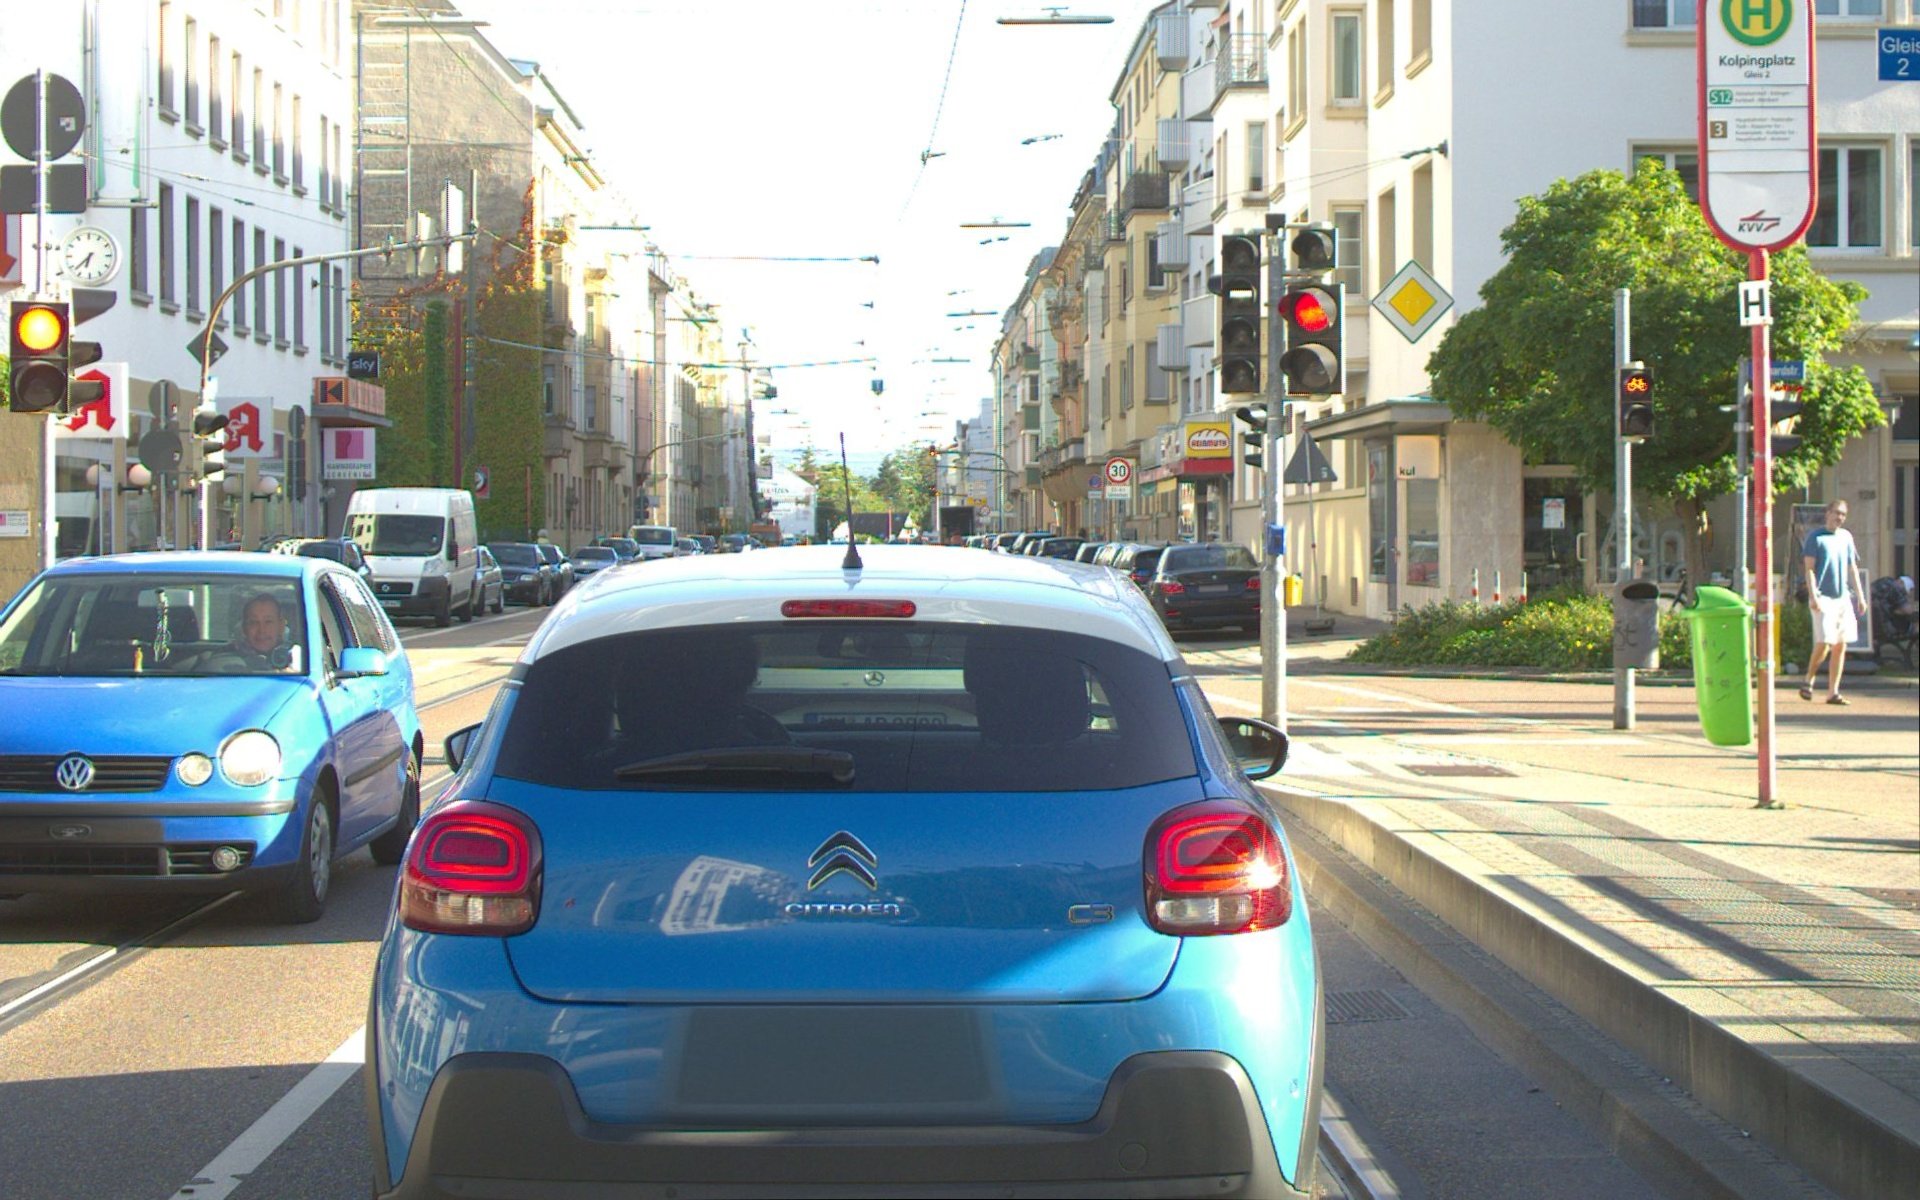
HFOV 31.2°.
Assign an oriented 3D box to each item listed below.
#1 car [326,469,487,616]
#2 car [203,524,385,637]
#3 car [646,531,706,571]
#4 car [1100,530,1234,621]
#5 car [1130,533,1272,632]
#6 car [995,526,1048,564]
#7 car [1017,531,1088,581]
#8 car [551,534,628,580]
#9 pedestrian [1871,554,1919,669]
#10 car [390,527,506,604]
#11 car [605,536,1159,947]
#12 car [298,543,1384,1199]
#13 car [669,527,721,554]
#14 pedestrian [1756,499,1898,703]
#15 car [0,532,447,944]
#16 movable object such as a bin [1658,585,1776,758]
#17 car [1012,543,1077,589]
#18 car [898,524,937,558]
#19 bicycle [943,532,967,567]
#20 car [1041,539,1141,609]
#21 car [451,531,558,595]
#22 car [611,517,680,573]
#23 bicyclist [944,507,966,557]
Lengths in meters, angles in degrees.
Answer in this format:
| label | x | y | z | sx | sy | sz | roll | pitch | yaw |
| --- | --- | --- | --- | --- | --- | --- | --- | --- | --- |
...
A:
| label | x | y | z | sx | sy | sz | roll | pitch | yaw |
| --- | --- | --- | --- | --- | --- | --- | --- | --- | --- |
| car | -10.078 | -1.054 | 63.047 | 2.085 | 2.533 | 6.206 | 1 | 1 | -2 |
| car | -10.173 | -0.316 | 52.822 | 1.993 | 1.563 | 4.403 | 3 | 1 | -2 |
| car | -11.311 | -1.929 | 137.035 | 1.955 | 1.547 | 3.938 | 1 | 1 | 2 |
| car | 3.406 | -0.435 | 57.302 | 1.993 | 1.459 | 4.000 | 0 | 1 | 0 |
| car | 3.656 | -0.288 | 52.788 | 1.909 | 1.459 | 4.000 | 0 | 1 | 0 |
| car | 2.374 | -2.137 | 133.531 | 1.993 | 1.459 | 4.000 | 0 | 1 | 0 |
| car | 2.725 | -1.333 | 102.517 | 1.993 | 1.459 | 4.504 | 0 | 1 | 0 |
| car | -11.155 | -1.291 | 103.669 | 1.993 | 1.320 | 3.923 | 1 | 1 | -2 |
| pedestrian | 10.891 | 0.129 | 39.491 | 0.741 | 1.311 | 0.627 | 0 | 1 | 23 |
| car | -10.370 | -0.699 | 69.806 | 1.888 | 1.491 | 3.562 | 1 | 1 | -2 |
| car | -0.317 | 0.471 | 14.870 | 1.984 | 1.459 | 4.816 | 1 | 1 | -1 |
| car | -0.220 | 0.633 | 7.438 | 1.728 | 1.477 | 3.827 | 1 | 1 | -1 |
| car | -11.690 | -2.629 | 151.741 | 1.993 | 1.152 | 4.000 | 0 | 1 | 0 |
| pedestrian | 8.158 | 0.009 | 32.394 | 0.981 | 1.871 | 1.129 | 1 | 0 | -3 |
| car | -3.282 | 0.466 | 14.564 | 1.667 | 1.482 | 4.000 | 1 | 1 | -1 |
| movable object such as a bin | 3.507 | 0.325 | 15.946 | 0.449 | 0.783 | 0.489 | 0 | 1 | 2 |
| car | 2.668 | -1.096 | 109.915 | 1.993 | 1.459 | 4.000 | 0 | 1 | 0 |
| car | -2.197 | -3.078 | 178.451 | 1.993 | 1.766 | 4.000 | 0 | 1 | -1 |
| bicycle | -0.209 | -2.043 | 138.108 | 0.920 | 1.384 | 3.132 | 0 | 1 | 0 |
| car | 2.782 | -0.586 | 73.762 | 1.993 | 1.459 | 4.000 | 0 | 1 | 0 |
| car | -10.388 | -0.856 | 78.651 | 1.993 | 1.393 | 4.157 | 1 | 1 | -2 |
| car | -11.639 | -2.033 | 127.425 | 2.006 | 2.007 | 4.689 | 1 | 1 | 1 |
| bicyclist | -0.201 | -2.728 | 137.936 | 0.809 | 2.007 | 0.922 | 1 | 0 | -1 |
